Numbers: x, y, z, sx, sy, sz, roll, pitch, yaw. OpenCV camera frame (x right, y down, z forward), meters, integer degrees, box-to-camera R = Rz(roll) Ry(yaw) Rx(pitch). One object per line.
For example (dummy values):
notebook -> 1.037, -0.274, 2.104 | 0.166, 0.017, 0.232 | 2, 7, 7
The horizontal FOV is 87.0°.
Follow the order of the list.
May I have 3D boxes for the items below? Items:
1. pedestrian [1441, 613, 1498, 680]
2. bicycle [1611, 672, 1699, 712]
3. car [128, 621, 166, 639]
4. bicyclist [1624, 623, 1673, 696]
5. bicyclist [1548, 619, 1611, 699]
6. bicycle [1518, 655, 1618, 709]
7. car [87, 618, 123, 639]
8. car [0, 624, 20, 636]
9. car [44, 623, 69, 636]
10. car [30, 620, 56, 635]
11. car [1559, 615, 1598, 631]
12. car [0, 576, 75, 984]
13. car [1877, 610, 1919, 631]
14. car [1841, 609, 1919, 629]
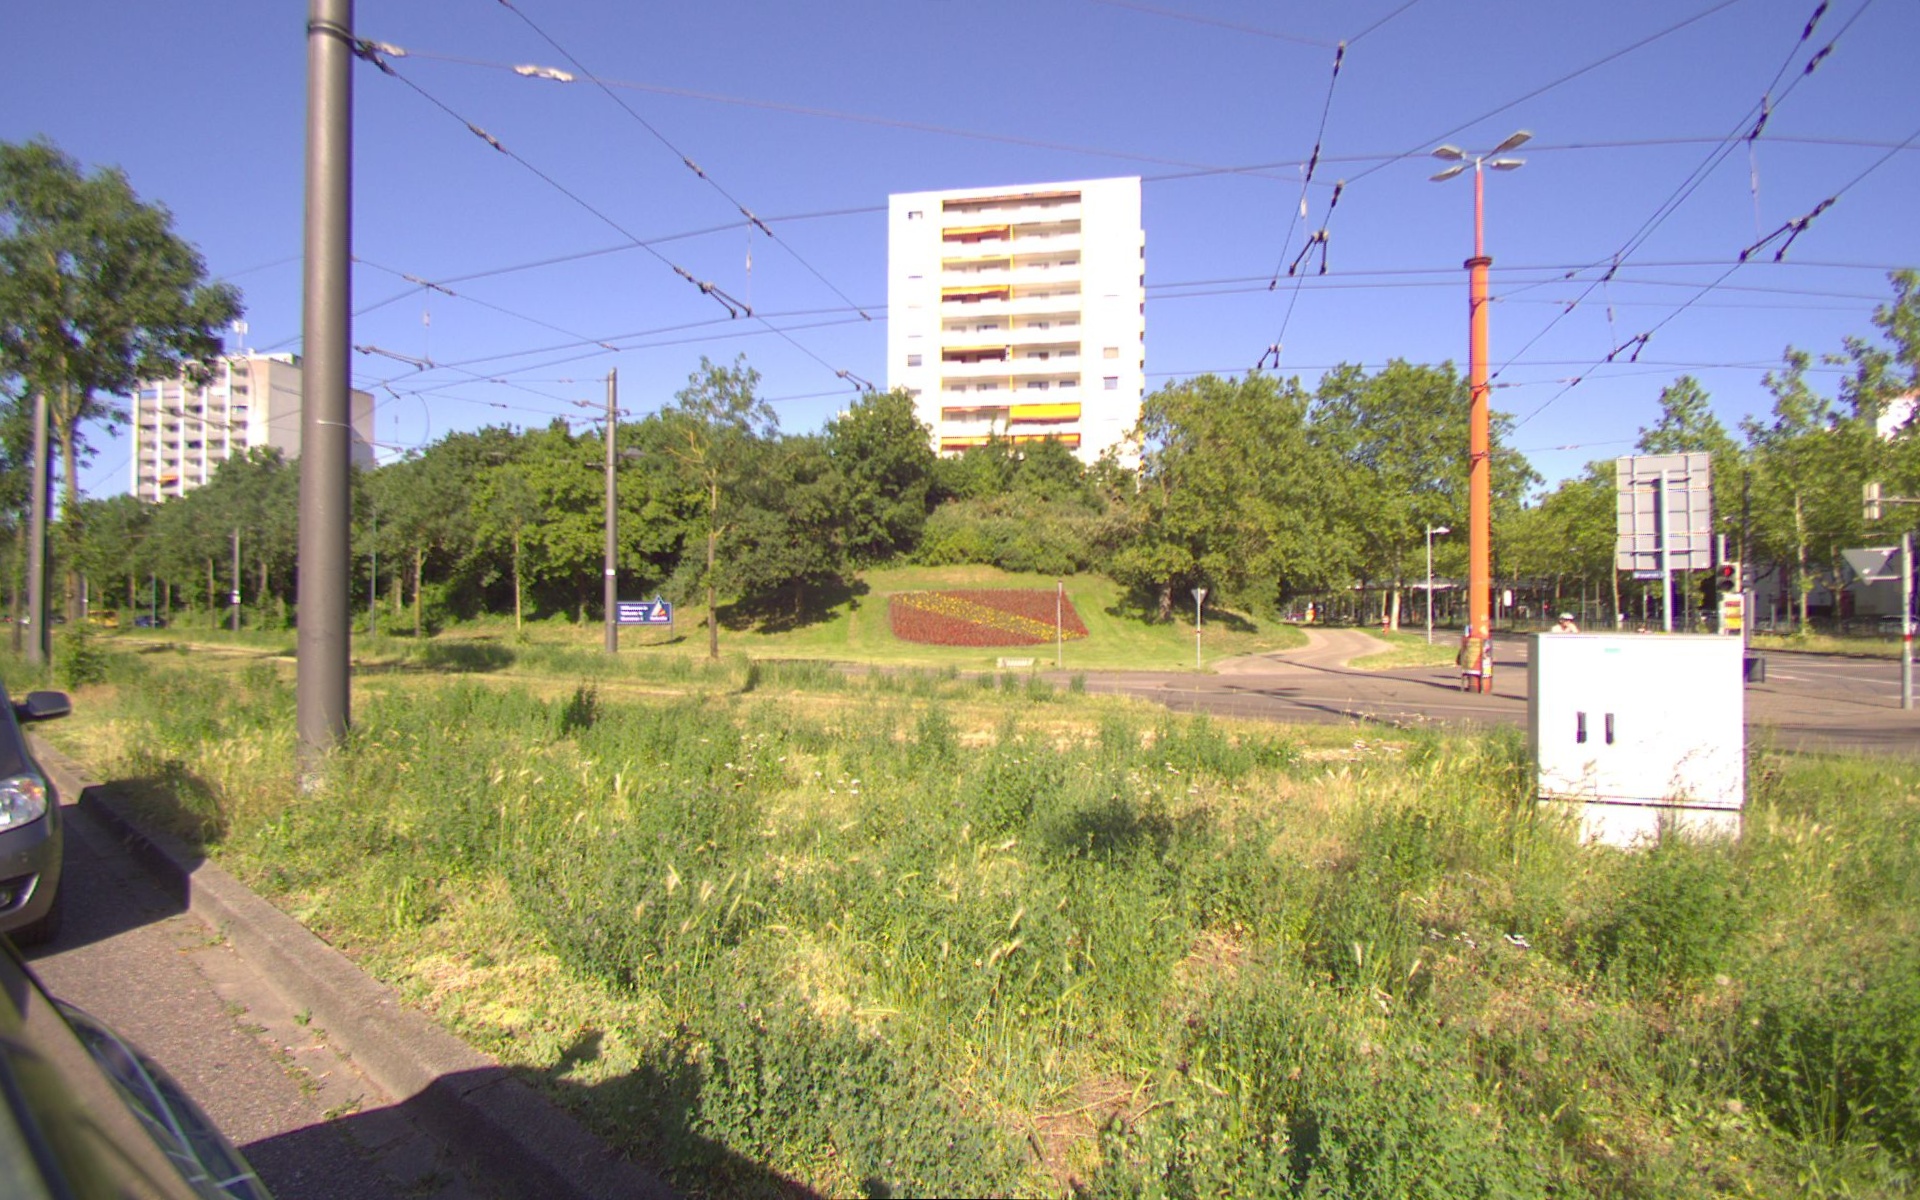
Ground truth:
pedestrian -> 13.968, 1.263, 27.776 | 0.939, 1.807, 0.990 | 0, -1, -13
bicycle -> 13.417, 1.766, 19.569 | 0.427, 0.665, 1.426 | 0, -1, -18
car -> -72.335, 2.652, 89.998 | 4.105, 1.586, 1.972 | -1, -2, 41
bicyclist -> 13.342, 1.136, 19.625 | 0.435, 1.391, 0.631 | 0, -2, -20
bicyclist -> 12.261, 1.148, 20.043 | 0.719, 1.557, 0.770 | 0, -2, -20
bicycle -> 12.156, 1.621, 20.290 | 0.673, 0.968, 1.650 | 0, -1, -20
car -> -84.781, 2.793, 100.322 | 4.904, 1.981, 1.973 | -1, -2, 41
car -> -117.356, 3.705, 124.799 | 4.239, 1.519, 1.769 | -1, -2, 42
car -> -100.207, 3.269, 112.230 | 4.000, 1.386, 1.756 | -1, -2, 43
car -> -95.432, 2.852, 105.309 | 4.020, 1.418, 1.671 | -2, -1, 42
car -> 79.739, 2.993, 130.484 | 3.969, 2.029, 1.987 | -1, -1, 20
car -> -5.733, 0.744, 4.848 | 3.879, 1.634, 1.737 | -1, -2, 41
car -> 64.893, 1.398, 68.402 | 1.770, 1.420, 4.010 | 1, -1, -36
car -> 65.882, 1.376, 72.384 | 1.770, 1.420, 4.010 | 1, -1, -36
